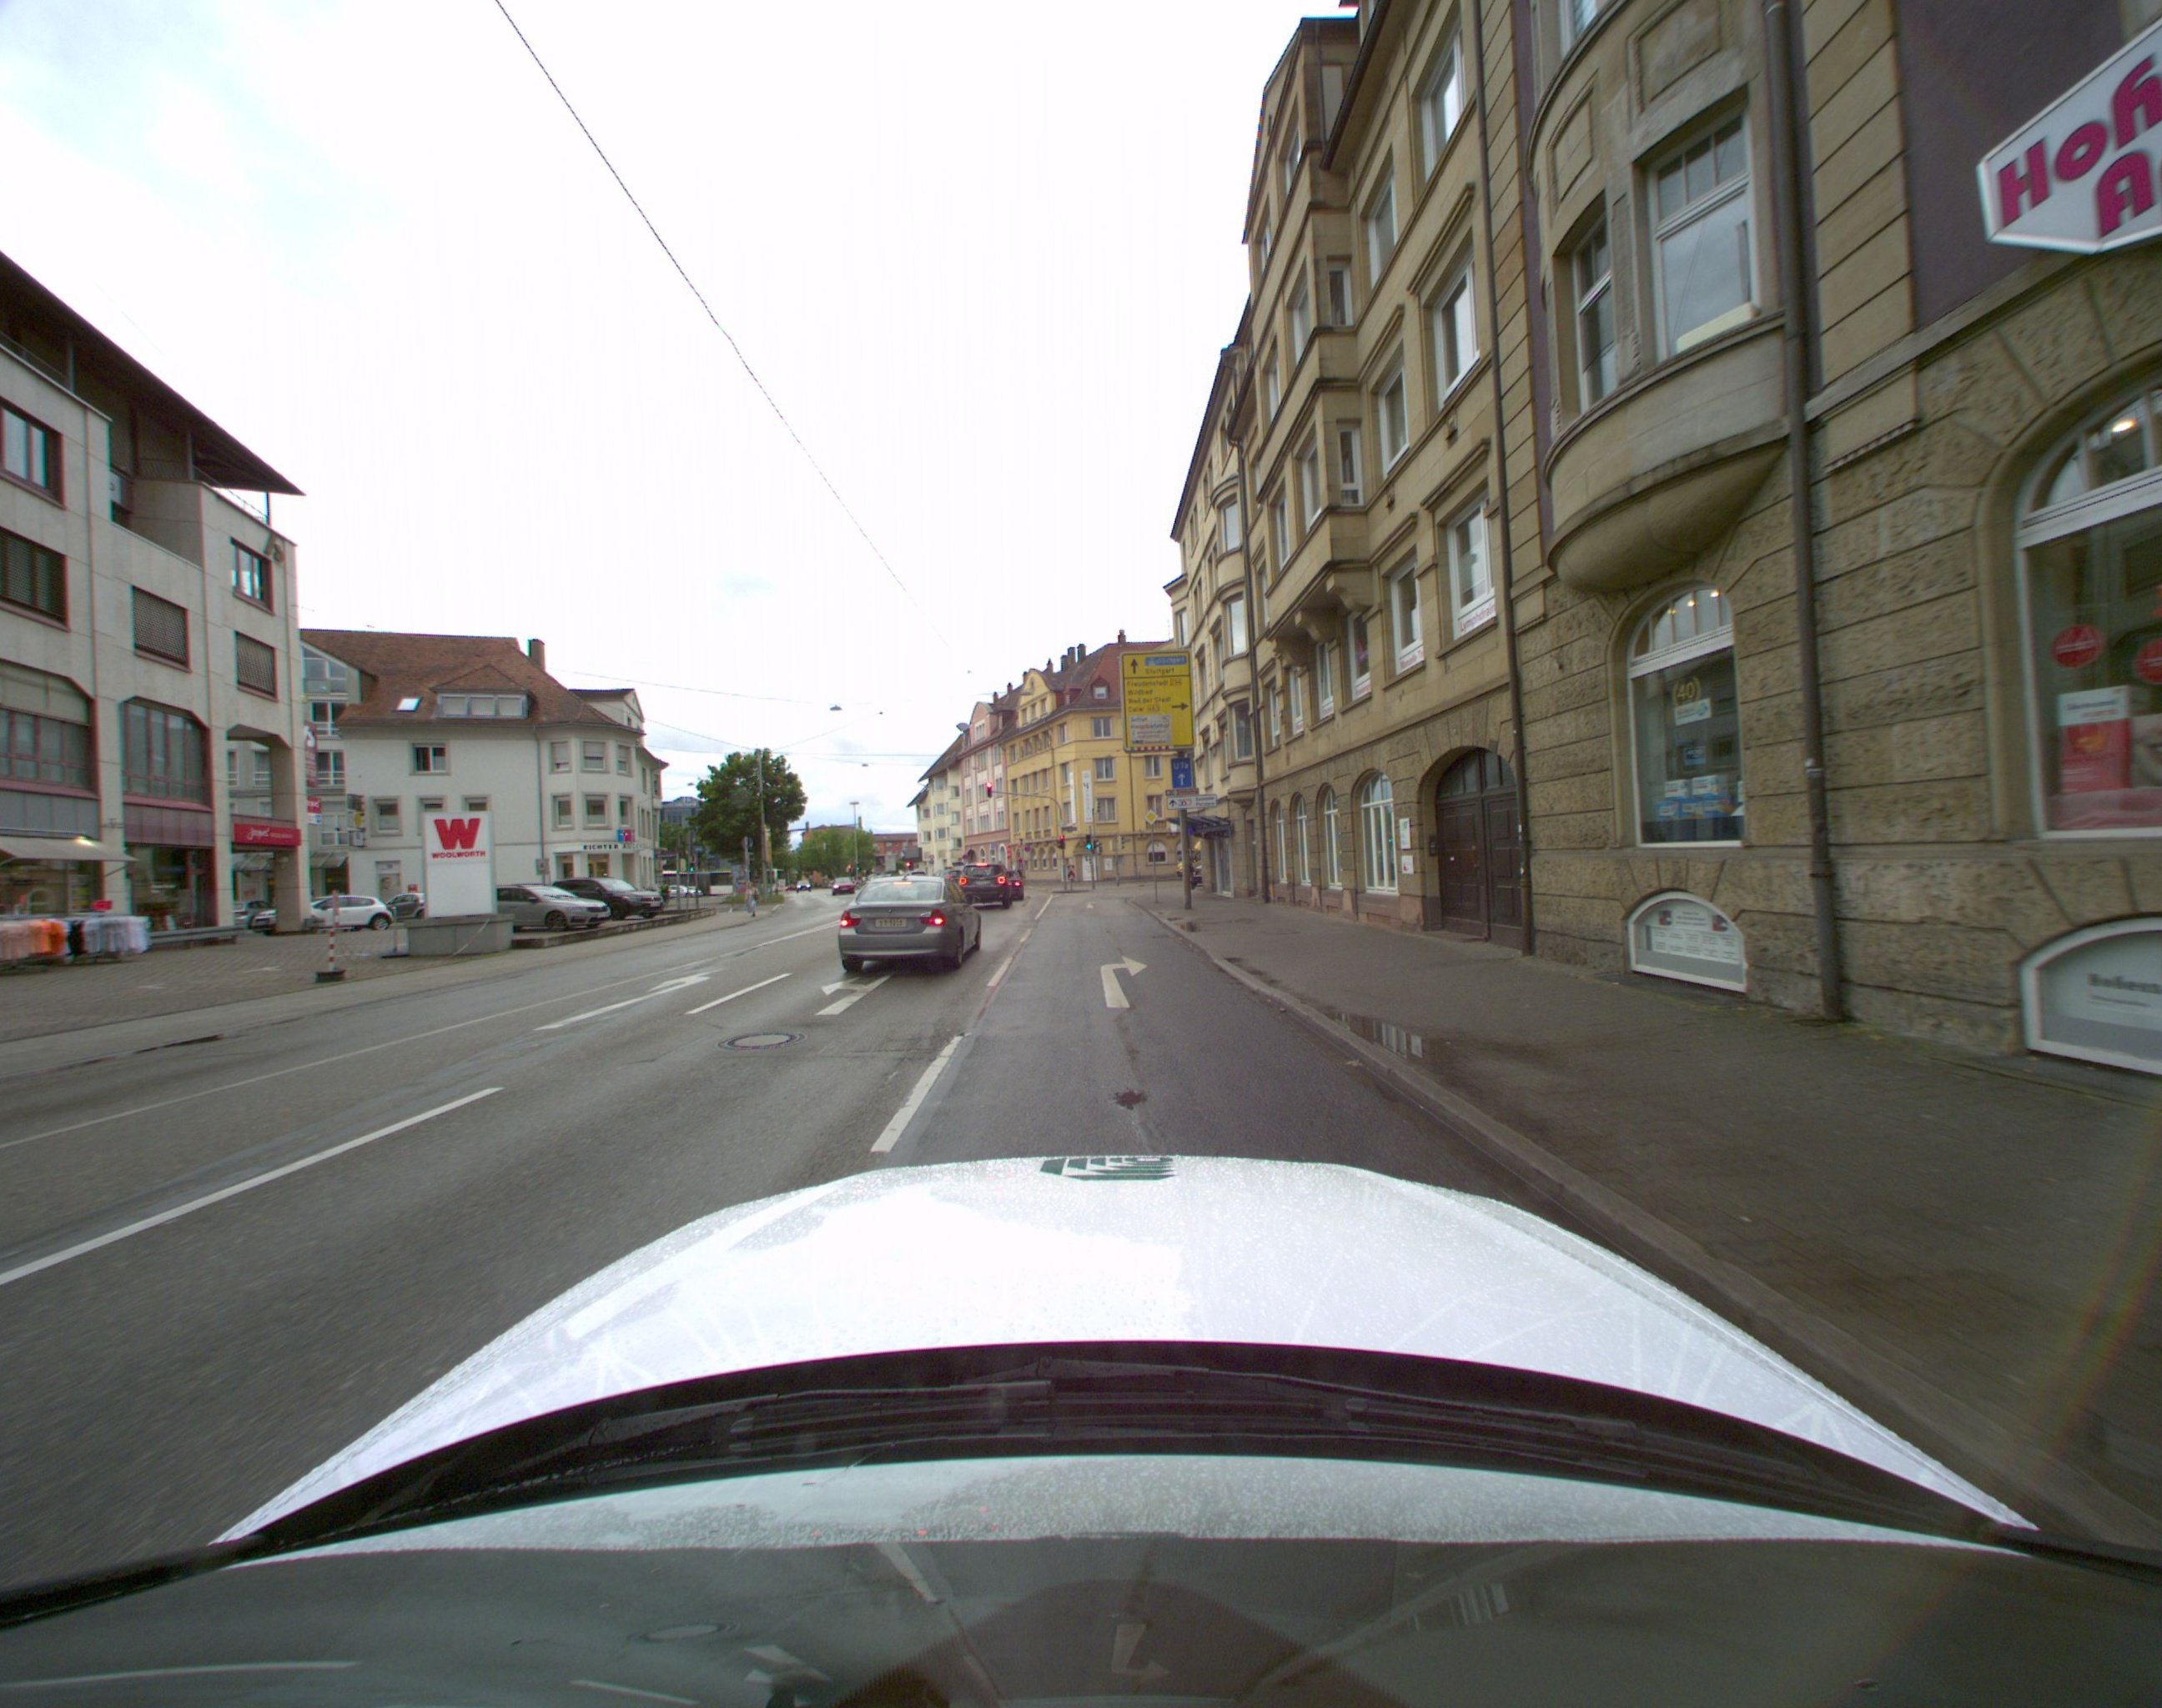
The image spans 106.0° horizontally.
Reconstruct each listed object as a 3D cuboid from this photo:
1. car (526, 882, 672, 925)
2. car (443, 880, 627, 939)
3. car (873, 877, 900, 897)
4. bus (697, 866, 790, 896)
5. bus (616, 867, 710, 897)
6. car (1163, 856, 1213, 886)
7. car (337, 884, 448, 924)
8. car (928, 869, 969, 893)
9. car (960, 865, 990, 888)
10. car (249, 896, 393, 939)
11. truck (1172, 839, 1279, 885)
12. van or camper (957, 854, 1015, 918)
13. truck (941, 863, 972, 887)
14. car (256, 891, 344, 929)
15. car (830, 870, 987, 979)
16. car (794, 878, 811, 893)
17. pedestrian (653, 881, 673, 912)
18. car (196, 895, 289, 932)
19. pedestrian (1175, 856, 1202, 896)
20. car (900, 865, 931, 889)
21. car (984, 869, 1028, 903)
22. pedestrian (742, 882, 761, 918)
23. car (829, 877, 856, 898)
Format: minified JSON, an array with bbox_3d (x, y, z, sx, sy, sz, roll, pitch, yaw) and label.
[{"bbox_3d":[-17.984,1.827,30.500,4.393,1.506,1.958,-1,-1,8],"label":"car"},{"bbox_3d":[-16.995,1.700,25.494,4.429,1.526,1.886,-3,-1,1],"label":"car"},{"bbox_3d":[-20.639,3.480,86.291,2.003,2.014,3.968,-2,-1,-24],"label":"car"},{"bbox_3d":[-37.734,2.950,91.296,9.083,3.105,2.918,-1,0,0],"label":"bus"},{"bbox_3d":[-46.649,3.118,91.046,8.820,3.105,2.915,-1,-1,-3],"label":"bus"},{"bbox_3d":[6.161,1.001,47.230,1.798,1.563,3.988,-2,-1,-9],"label":"car"},{"bbox_3d":[-36.470,2.625,43.285,4.004,1.815,1.985,-2,-1,-23],"label":"car"},{"bbox_3d":[-10.622,2.171,64.980,2.005,1.816,3.963,-2,-2,-28],"label":"car"},{"bbox_3d":[-10.322,2.161,79.031,1.771,2.180,3.965,1,-1,-26],"label":"car"},{"bbox_3d":[-29.212,2.410,31.447,1.566,1.500,3.773,-3,-4,14],"label":"car"},{"bbox_3d":[10.108,0.571,57.381,7.071,2.851,2.081,-3,-1,-2],"label":"truck"},{"bbox_3d":[-3.416,1.150,30.022,1.851,2.146,4.136,-2,-1,-4],"label":"van or camper"},{"bbox_3d":[-12.889,2.193,84.111,2.036,2.390,4.200,2,-2,-26],"label":"truck"},{"bbox_3d":[-40.802,2.868,42.671,2.003,1.730,3.968,-2,-1,-24],"label":"car"},{"bbox_3d":[-2.630,1.029,13.407,1.795,1.464,4.366,-1,-2,-3],"label":"car"},{"bbox_3d":[-37.662,4.270,110.055,1.895,1.816,3.969,-3,-1,-23],"label":"car"},{"bbox_3d":[-24.929,2.522,48.533,0.967,1.708,0.926,-2,0,-26],"label":"pedestrian"},{"bbox_3d":[-43.031,3.005,41.906,1.877,1.591,3.969,-2,-1,-23],"label":"car"},{"bbox_3d":[5.339,1.094,40.455,1.048,1.904,1.030,-3,-1,20],"label":"pedestrian"},{"bbox_3d":[-14.913,2.035,73.306,2.002,2.014,3.970,-2,-1,-22],"label":"car"},{"bbox_3d":[-3.315,1.415,36.814,1.799,1.406,4.677,-2,-1,-4],"label":"car"},{"bbox_3d":[-14.107,1.974,34.893,0.763,1.529,0.505,0,-2,-22],"label":"pedestrian"},{"bbox_3d":[-20.037,2.761,68.339,1.852,1.684,3.970,-1,-1,-22],"label":"car"}]
